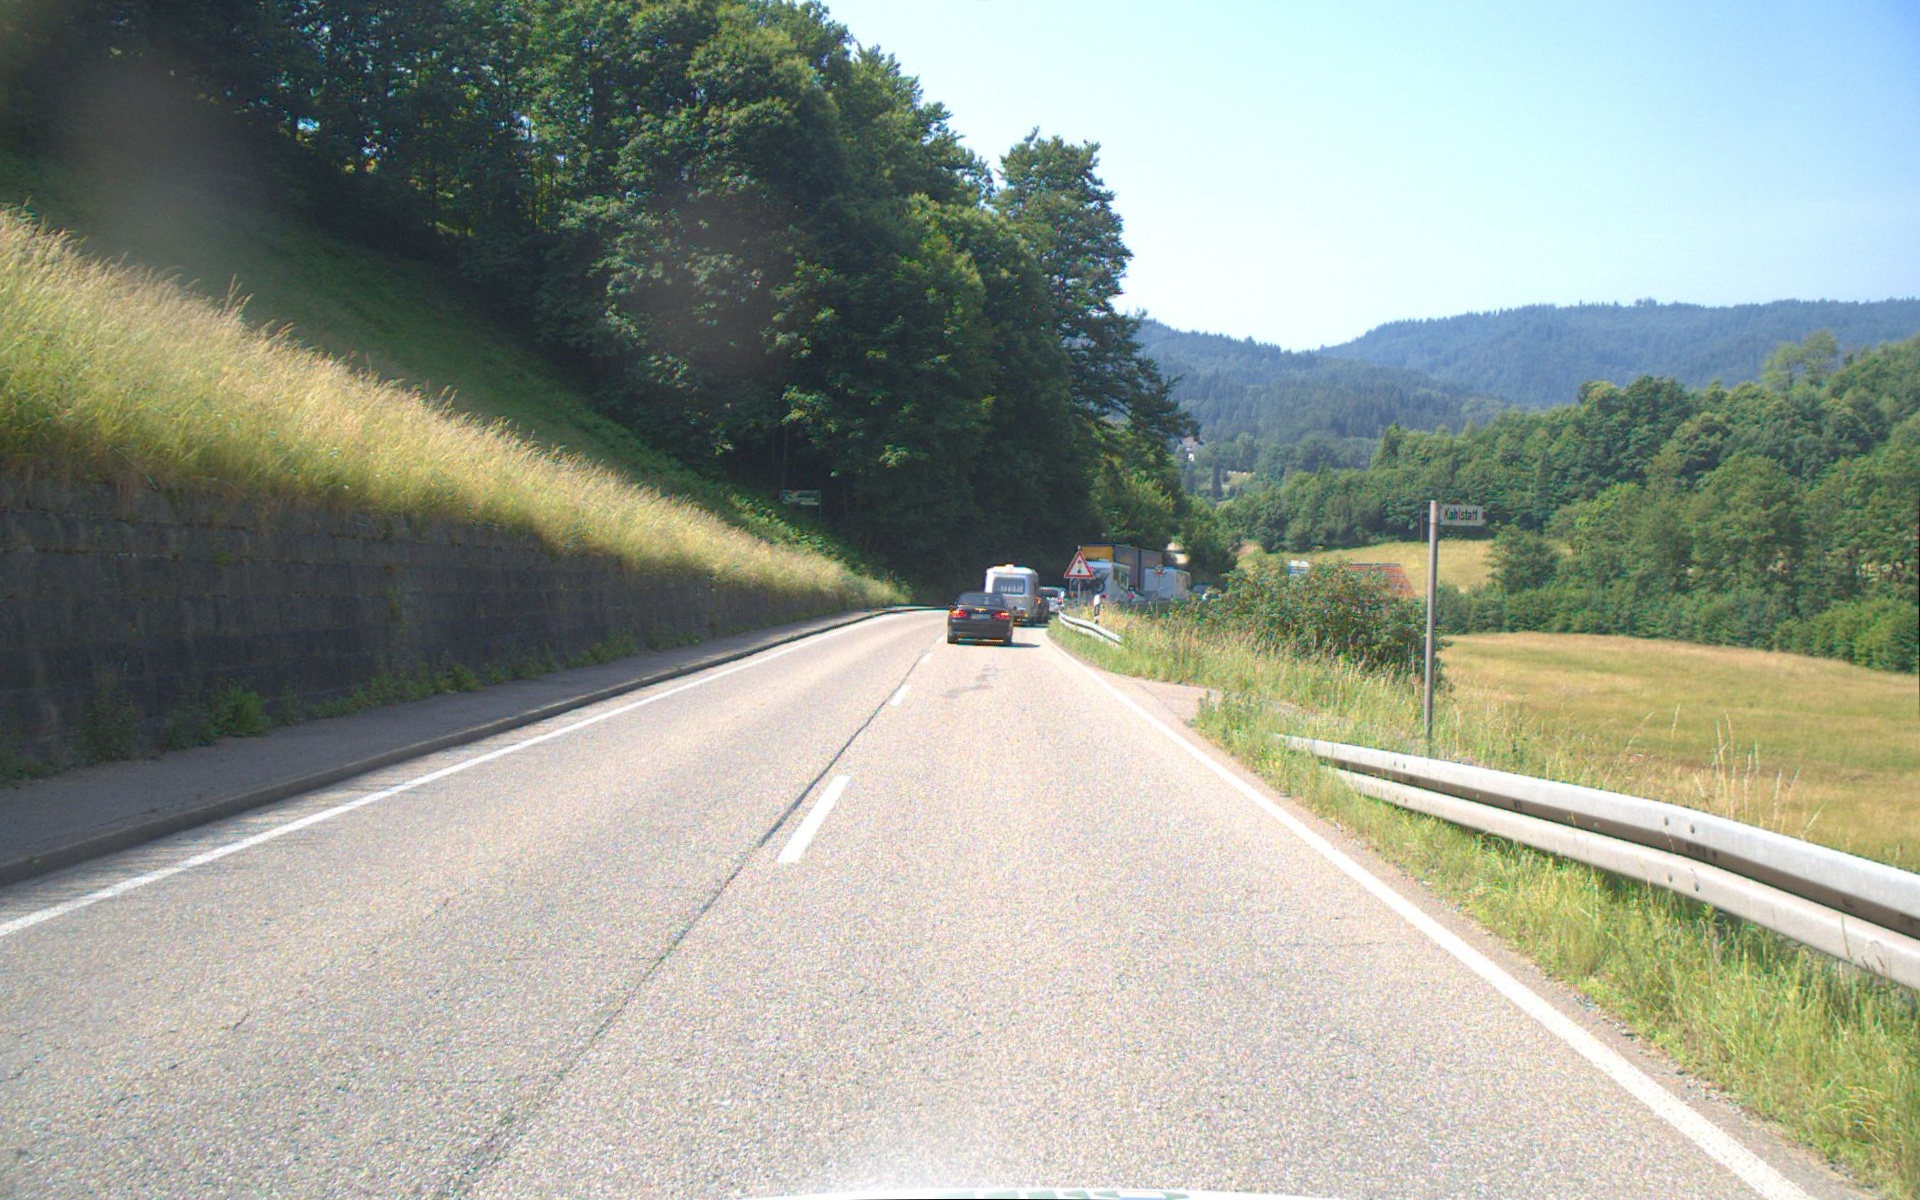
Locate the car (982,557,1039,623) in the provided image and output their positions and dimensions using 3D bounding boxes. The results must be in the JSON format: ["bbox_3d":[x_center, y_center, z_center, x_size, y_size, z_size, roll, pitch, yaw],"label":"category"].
[{"bbox_3d":[2.028,-0.438,65.137,1.952,2.393,4.917,3,2,4],"label":"car"}]

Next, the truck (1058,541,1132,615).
[{"bbox_3d":[8.838,-1.430,107.421,3.122,4.472,6.574,4,2,18],"label":"truck"}]

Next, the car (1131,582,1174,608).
[{"bbox_3d":[12.190,-0.332,104.723,1.751,1.489,4.001,5,2,20],"label":"car"}]

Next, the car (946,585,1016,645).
[{"bbox_3d":[0.564,0.362,44.110,1.735,1.358,3.768,3,2,1],"label":"car"}]

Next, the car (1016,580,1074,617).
[{"bbox_3d":[3.991,-0.076,77.384,1.952,1.509,4.003,4,1,13],"label":"car"}]

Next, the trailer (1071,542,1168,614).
[{"bbox_3d":[11.290,-1.473,115.040,3.192,4.493,15.322,3,1,18],"label":"trailer"}]

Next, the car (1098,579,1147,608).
[{"bbox_3d":[9.644,-0.404,97.754,1.953,1.489,4.002,5,2,18],"label":"car"}]

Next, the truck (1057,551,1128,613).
[{"bbox_3d":[7.225,-0.979,89.618,2.732,3.049,6.874,4,2,12],"label":"truck"}]

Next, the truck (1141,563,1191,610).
[{"bbox_3d":[13.936,-0.880,111.377,2.191,2.852,6.235,3,0,17],"label":"truck"}]
